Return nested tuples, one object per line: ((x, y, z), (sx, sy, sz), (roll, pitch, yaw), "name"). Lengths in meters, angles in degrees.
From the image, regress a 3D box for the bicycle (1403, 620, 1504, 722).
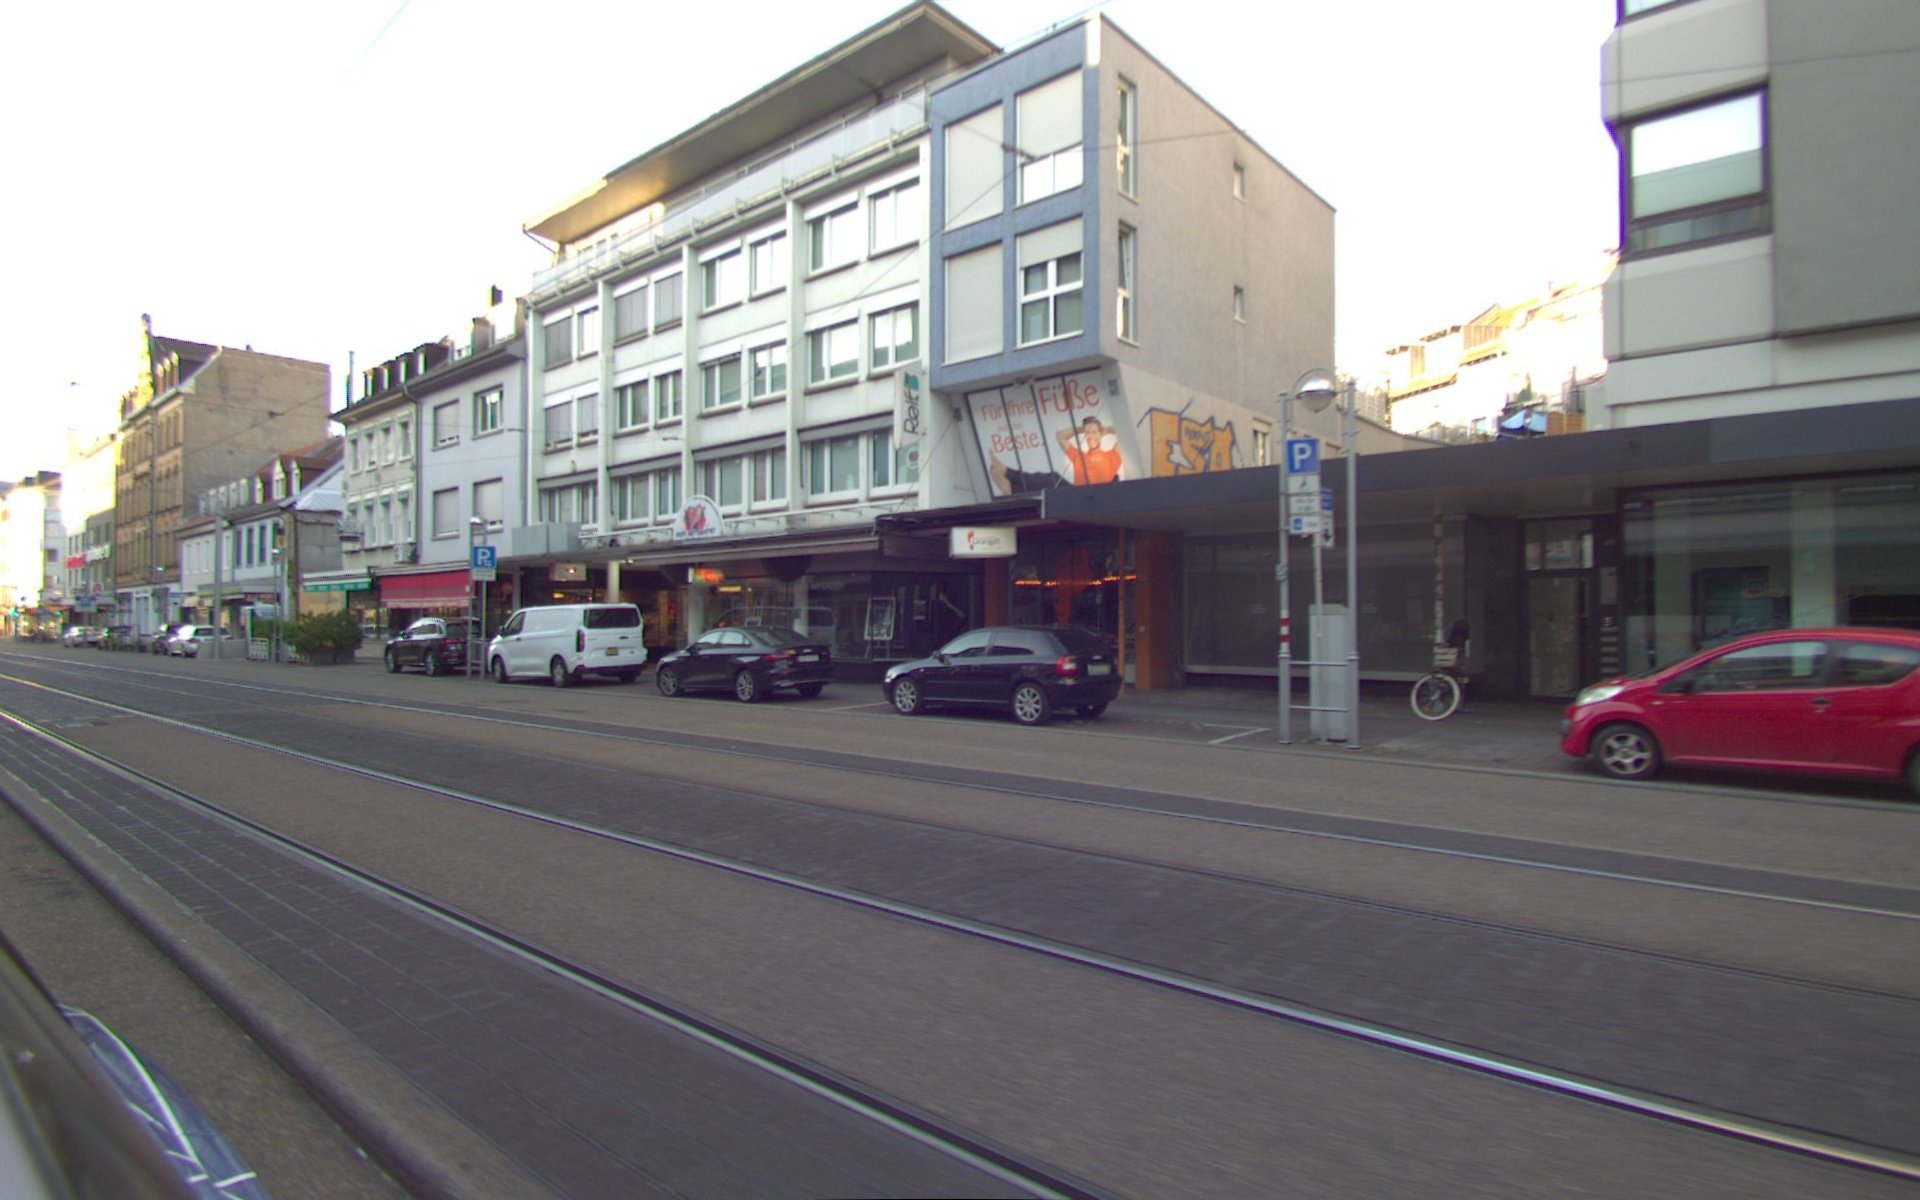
((7.454, 1.017, 15.236), (0.875, 1.350, 2.025), (-1, 0, 41), "bicycle")

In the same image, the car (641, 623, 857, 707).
((-4.317, 1.212, 20.296), (4.569, 1.437, 1.852), (-1, 0, 41), "car")

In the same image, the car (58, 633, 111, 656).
((-60.344, 3.065, 69.743), (4.399, 1.431, 1.974), (-1, 0, 39), "car")

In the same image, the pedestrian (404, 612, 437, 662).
((-19.890, 1.349, 37.336), (0.818, 1.795, 0.809), (-1, 0, 41), "pedestrian")

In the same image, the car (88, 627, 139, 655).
((-51.462, 2.466, 61.529), (3.814, 1.504, 1.822), (-1, 0, 41), "car")

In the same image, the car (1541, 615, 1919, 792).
((7.712, 0.877, 9.555), (3.590, 1.445, 1.674), (-2, -2, 41), "car")

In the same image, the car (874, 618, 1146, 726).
((0.694, 1.039, 15.902), (4.090, 1.472, 1.771), (-2, -2, 42), "car")

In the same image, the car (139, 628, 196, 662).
((-39.985, 2.224, 51.034), (3.469, 1.582, 1.638), (-1, 0, 41), "car")

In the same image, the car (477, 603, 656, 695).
((-9.896, 1.145, 25.269), (5.096, 2.029, 1.944), (-1, 0, 40), "car")

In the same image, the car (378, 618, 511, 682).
((-15.538, 1.424, 30.400), (4.586, 1.710, 1.973), (-1, 0, 41), "car")

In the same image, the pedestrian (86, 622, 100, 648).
((-67.642, 2.706, 78.921), (0.738, 2.029, 1.049), (-1, 0, -45), "pedestrian")

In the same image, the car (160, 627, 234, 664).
((-36.091, 2.096, 47.845), (4.620, 1.568, 1.872), (-1, 0, 41), "car")
